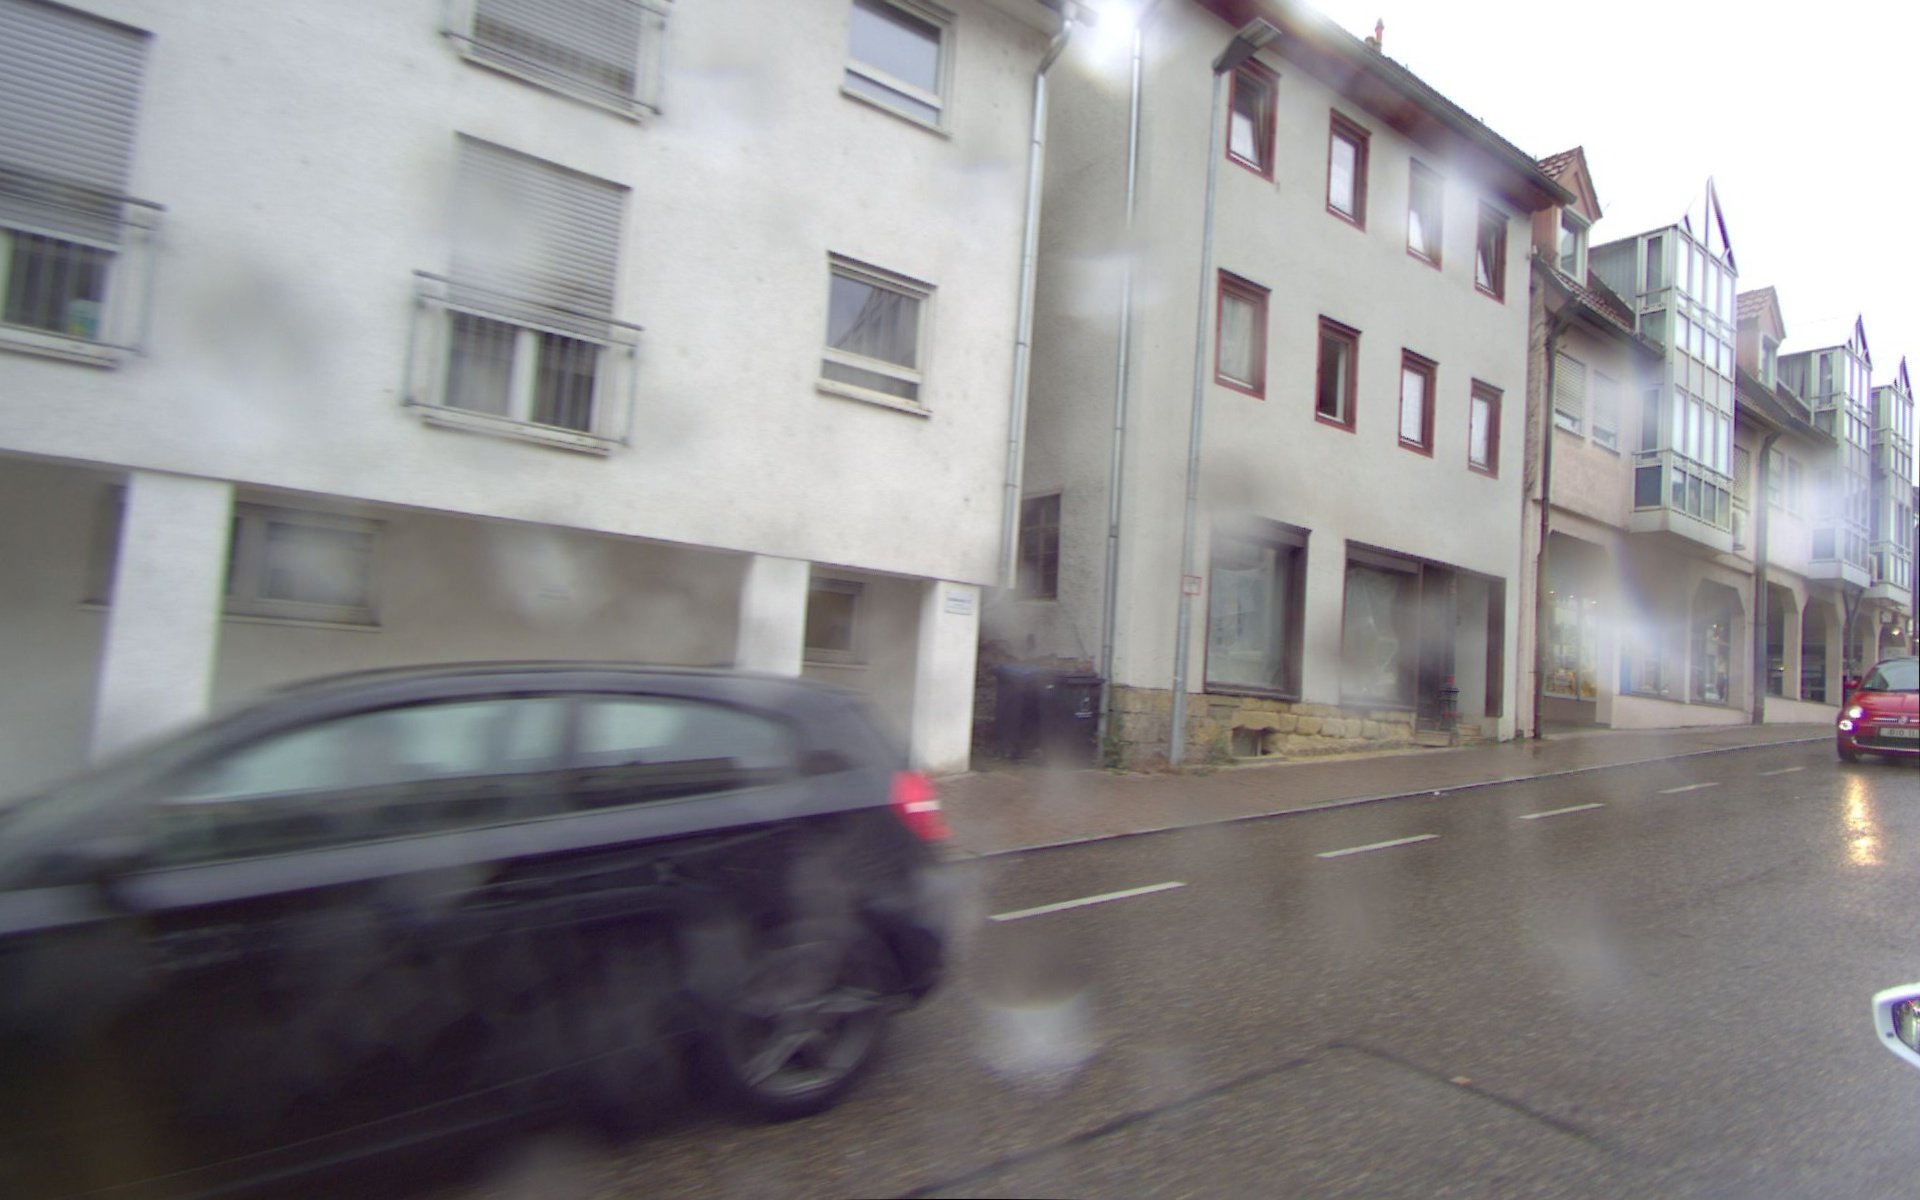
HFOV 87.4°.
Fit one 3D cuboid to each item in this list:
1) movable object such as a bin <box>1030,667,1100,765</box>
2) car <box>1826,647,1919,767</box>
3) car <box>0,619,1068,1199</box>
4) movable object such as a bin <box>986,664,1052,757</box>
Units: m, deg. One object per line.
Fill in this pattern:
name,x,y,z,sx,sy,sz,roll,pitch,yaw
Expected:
movable object such as a bin,1.149,1.252,11.032,0.579,1.020,0.505,2,-2,-33
car,13.869,1.469,14.297,3.415,1.555,1.549,2,-4,-36
car,-1.690,0.822,3.219,3.867,1.463,1.679,2,-3,-32
movable object such as a bin,0.680,1.260,11.601,0.579,1.020,0.505,2,-2,-33
